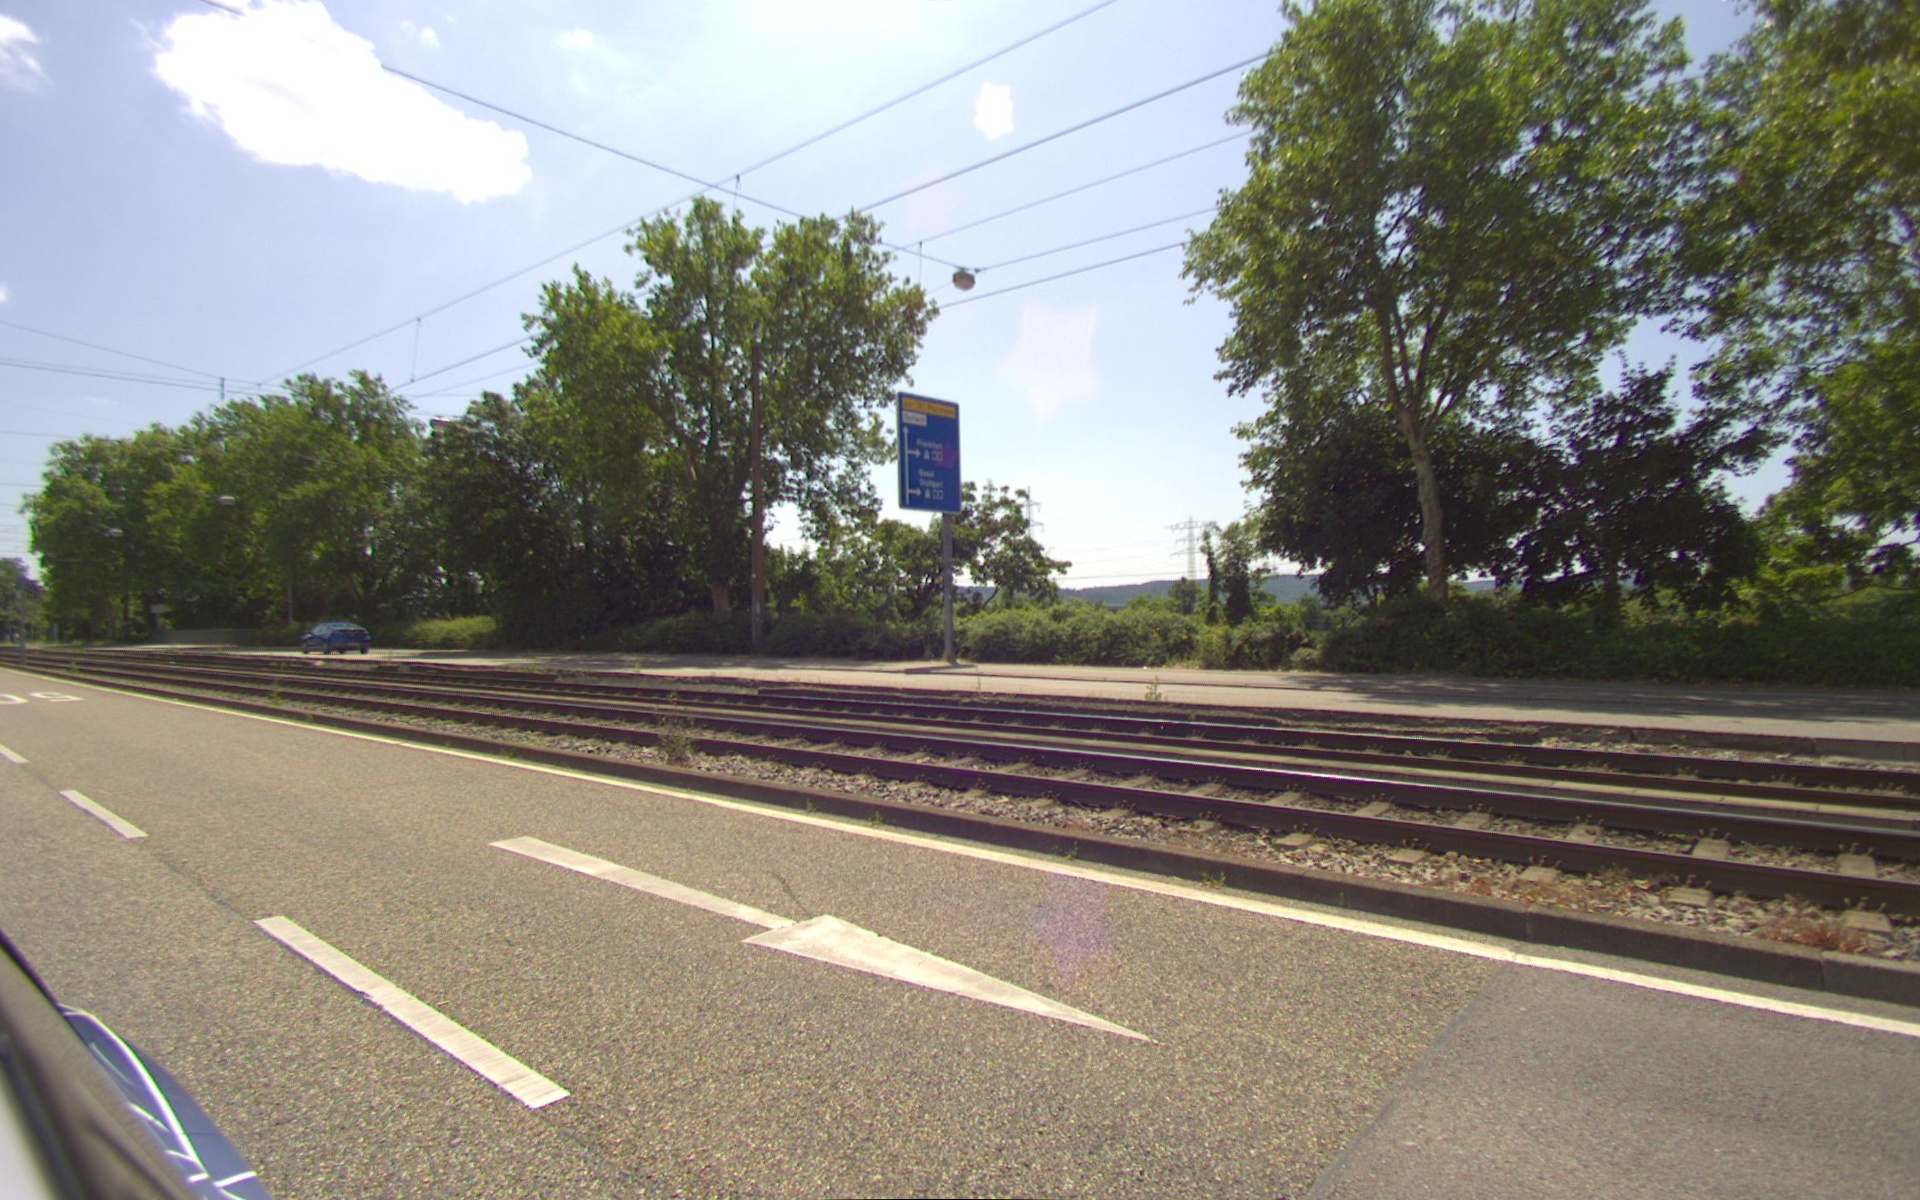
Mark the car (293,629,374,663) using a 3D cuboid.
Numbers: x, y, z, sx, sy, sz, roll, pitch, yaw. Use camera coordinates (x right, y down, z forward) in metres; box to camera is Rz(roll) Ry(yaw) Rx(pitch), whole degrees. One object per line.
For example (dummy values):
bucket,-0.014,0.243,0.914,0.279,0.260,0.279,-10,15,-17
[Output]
car,-29.263,2.154,47.225,4.731,1.515,1.781,-2,-3,39
